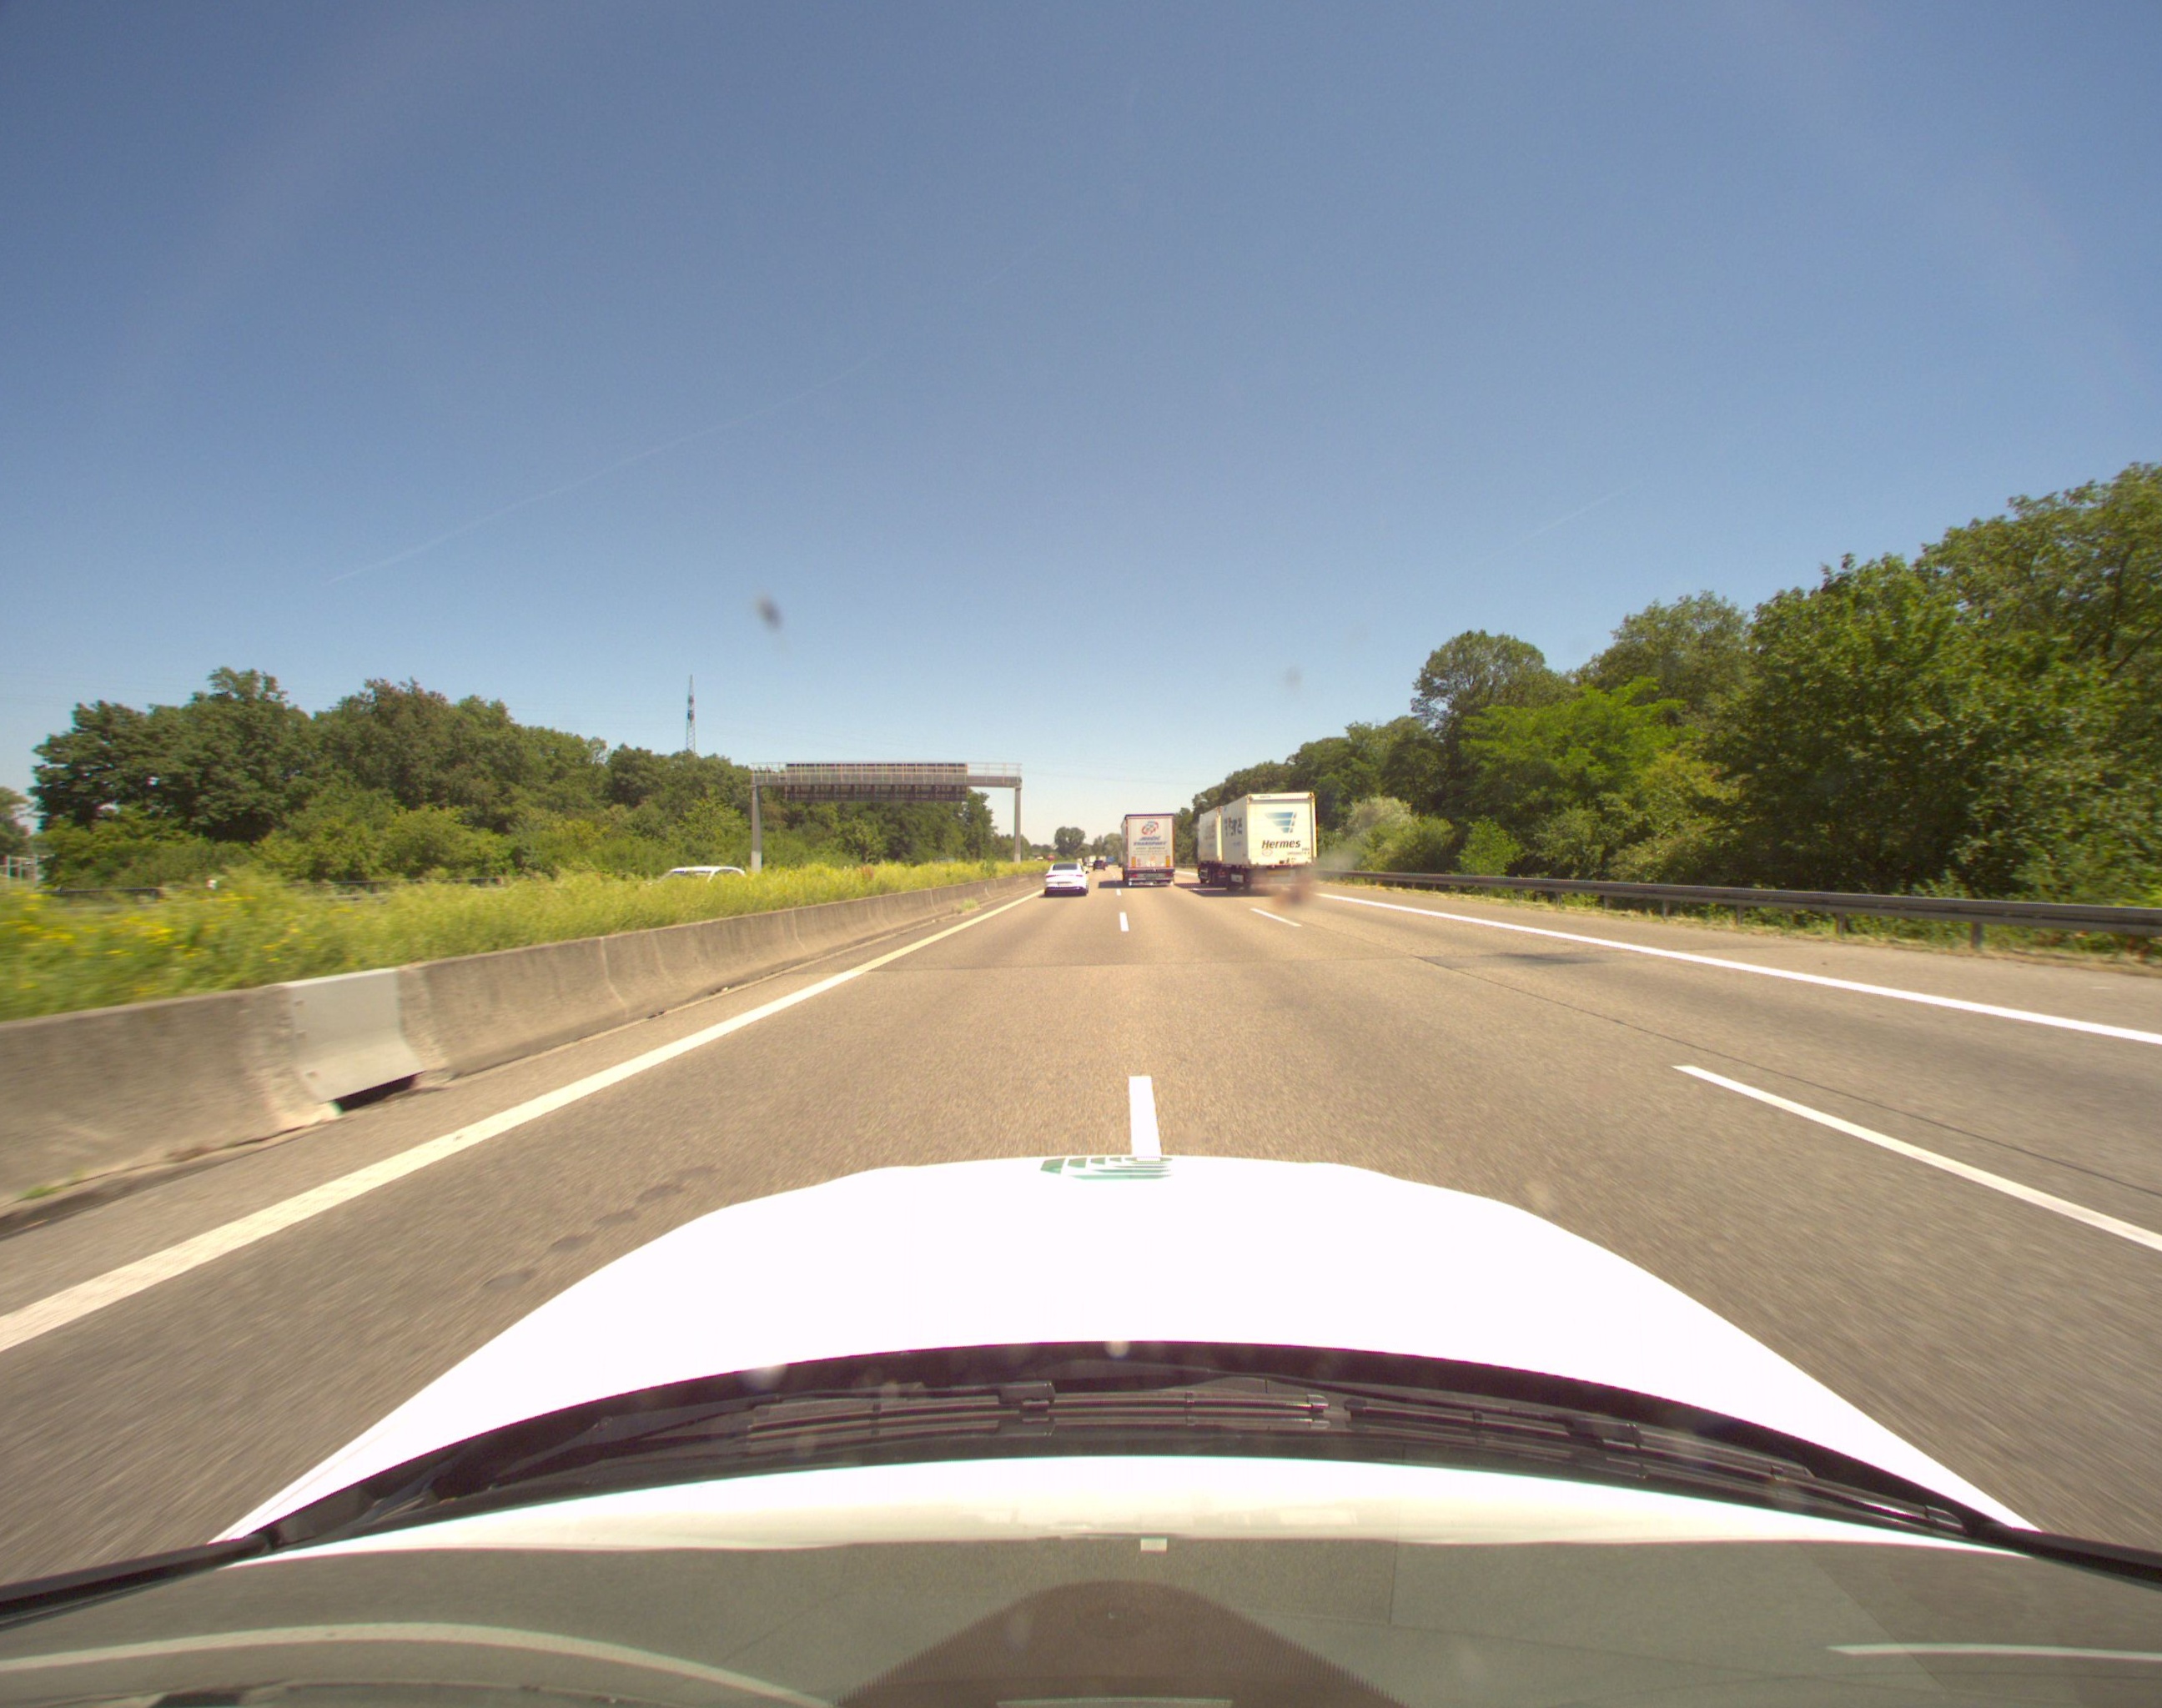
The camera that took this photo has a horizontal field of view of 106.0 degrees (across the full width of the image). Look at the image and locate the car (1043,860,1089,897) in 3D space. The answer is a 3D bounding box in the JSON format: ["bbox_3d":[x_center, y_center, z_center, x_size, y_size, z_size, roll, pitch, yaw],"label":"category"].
[{"bbox_3d":[-0.624,1.043,36.709,1.760,1.448,5.111,-1,0,2],"label":"car"}]

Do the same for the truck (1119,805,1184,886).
[{"bbox_3d":[3.891,-0.434,46.775,3.217,4.202,8.469,-1,0,2],"label":"truck"}]

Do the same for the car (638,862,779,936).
[{"bbox_3d":[-10.371,1.186,23.061,1.986,1.840,4.075,-1,0,1],"label":"car"}]

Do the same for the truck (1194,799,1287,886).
[{"bbox_3d":[8.255,-0.493,43.745,3.312,4.053,10.960,-1,-1,3],"label":"truck"}]

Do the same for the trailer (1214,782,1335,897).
[{"bbox_3d":[7.834,-0.516,34.380,3.353,4.142,9.099,-1,0,3],"label":"trailer"}]

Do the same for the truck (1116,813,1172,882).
[{"bbox_3d":[4.059,-0.417,53.779,3.207,4.205,6.551,-1,0,1],"label":"truck"}]

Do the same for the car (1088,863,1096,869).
[{"bbox_3d":[2.983,3.207,216.379,1.986,1.596,4.001,-1,0,1],"label":"car"}]

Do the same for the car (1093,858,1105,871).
[{"bbox_3d":[2.850,1.664,129.200,1.986,1.874,4.001,-1,1,1],"label":"car"}]

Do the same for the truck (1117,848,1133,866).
[{"bbox_3d":[10.515,0.758,196.977,3.433,3.989,9.516,-1,0,1],"label":"truck"}]

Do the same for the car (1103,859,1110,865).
[{"bbox_3d":[7.265,2.391,235.017,1.986,1.596,4.001,-1,0,1],"label":"car"}]

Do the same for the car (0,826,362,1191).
[{"bbox_3d":[-7.144,0.876,4.287,2.281,2.014,4.717,-1,0,5],"label":"car"}]
